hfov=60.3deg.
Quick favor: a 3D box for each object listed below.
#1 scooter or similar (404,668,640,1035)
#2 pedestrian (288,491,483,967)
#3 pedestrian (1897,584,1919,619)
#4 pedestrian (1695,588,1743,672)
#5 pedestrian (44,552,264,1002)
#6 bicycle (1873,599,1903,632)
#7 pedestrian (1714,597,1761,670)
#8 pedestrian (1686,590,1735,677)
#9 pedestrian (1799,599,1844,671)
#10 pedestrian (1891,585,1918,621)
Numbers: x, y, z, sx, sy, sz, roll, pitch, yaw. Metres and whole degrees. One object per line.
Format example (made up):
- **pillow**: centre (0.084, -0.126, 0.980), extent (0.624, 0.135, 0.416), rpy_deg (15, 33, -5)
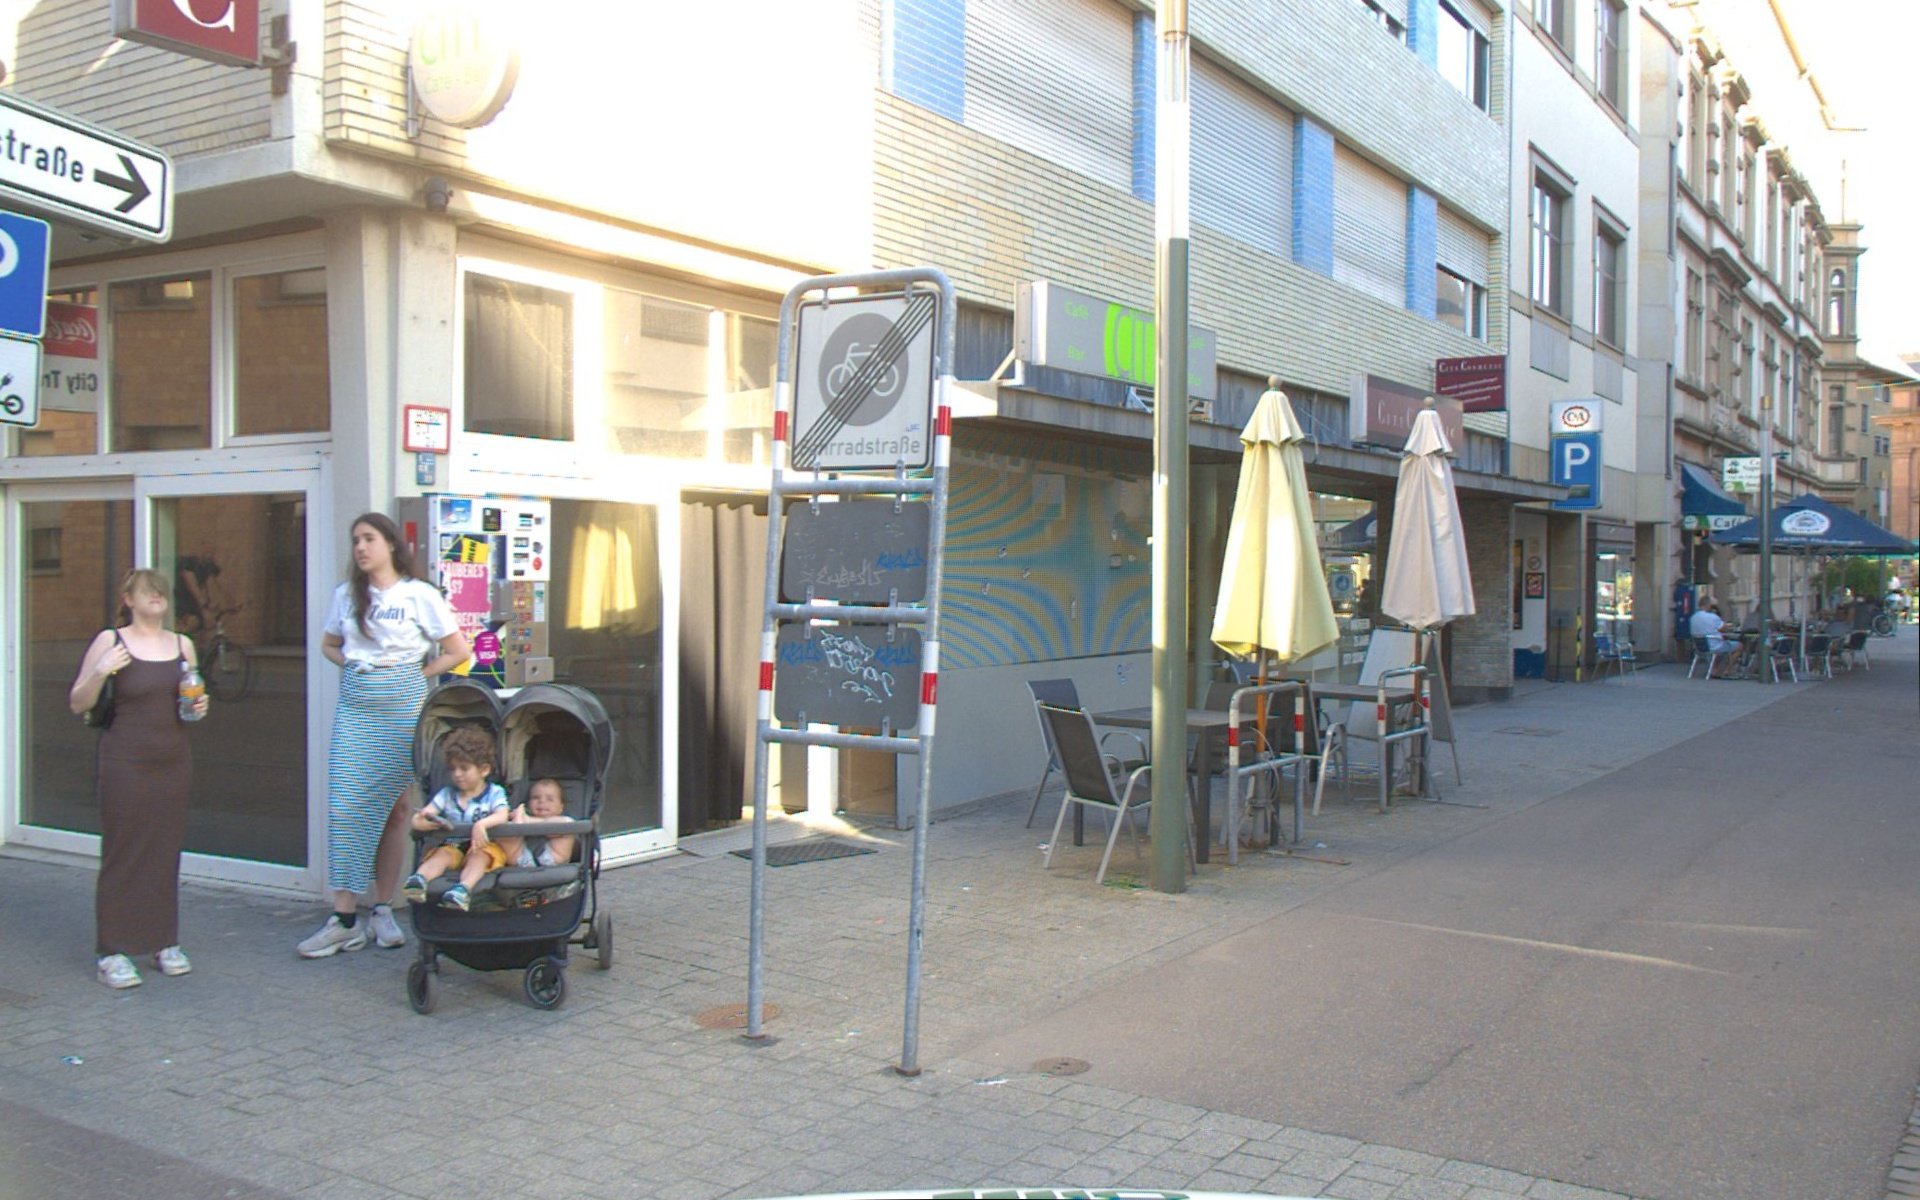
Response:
- **scooter or similar**: centre (-1.613, 0.874, 6.155), extent (0.783, 1.163, 0.950), rpy_deg (0, 2, -14)
- **pedestrian**: centre (-2.344, 0.489, 6.816), extent (0.647, 1.851, 0.568), rpy_deg (-2, 3, -15)
- **pedestrian**: centre (33.770, 0.037, 58.765), extent (0.689, 1.239, 0.716), rpy_deg (1, 1, 39)
- **pedestrian**: centre (12.902, 0.502, 28.132), extent (0.703, 1.392, 0.710), rpy_deg (0, 1, 22)
- **pedestrian**: centre (-3.064, 0.630, 6.295), extent (0.501, 1.607, 0.531), rpy_deg (1, 3, 39)
- **bicycle**: centre (25.595, 0.414, 45.612), extent (0.449, 0.864, 2.138), rpy_deg (1, 1, 37)
- **pedestrian**: centre (13.825, 0.590, 29.412), extent (0.750, 1.254, 0.831), rpy_deg (1, 1, 26)
- **pedestrian**: centre (12.309, 0.544, 27.141), extent (0.693, 1.392, 0.720), rpy_deg (0, 1, 22)
- **pedestrian**: centre (15.263, 0.615, 29.319), extent (0.678, 1.236, 0.583), rpy_deg (1, 1, 26)
- **pedestrian**: centre (32.904, 0.113, 57.628), extent (0.689, 1.239, 0.716), rpy_deg (1, 1, 39)
